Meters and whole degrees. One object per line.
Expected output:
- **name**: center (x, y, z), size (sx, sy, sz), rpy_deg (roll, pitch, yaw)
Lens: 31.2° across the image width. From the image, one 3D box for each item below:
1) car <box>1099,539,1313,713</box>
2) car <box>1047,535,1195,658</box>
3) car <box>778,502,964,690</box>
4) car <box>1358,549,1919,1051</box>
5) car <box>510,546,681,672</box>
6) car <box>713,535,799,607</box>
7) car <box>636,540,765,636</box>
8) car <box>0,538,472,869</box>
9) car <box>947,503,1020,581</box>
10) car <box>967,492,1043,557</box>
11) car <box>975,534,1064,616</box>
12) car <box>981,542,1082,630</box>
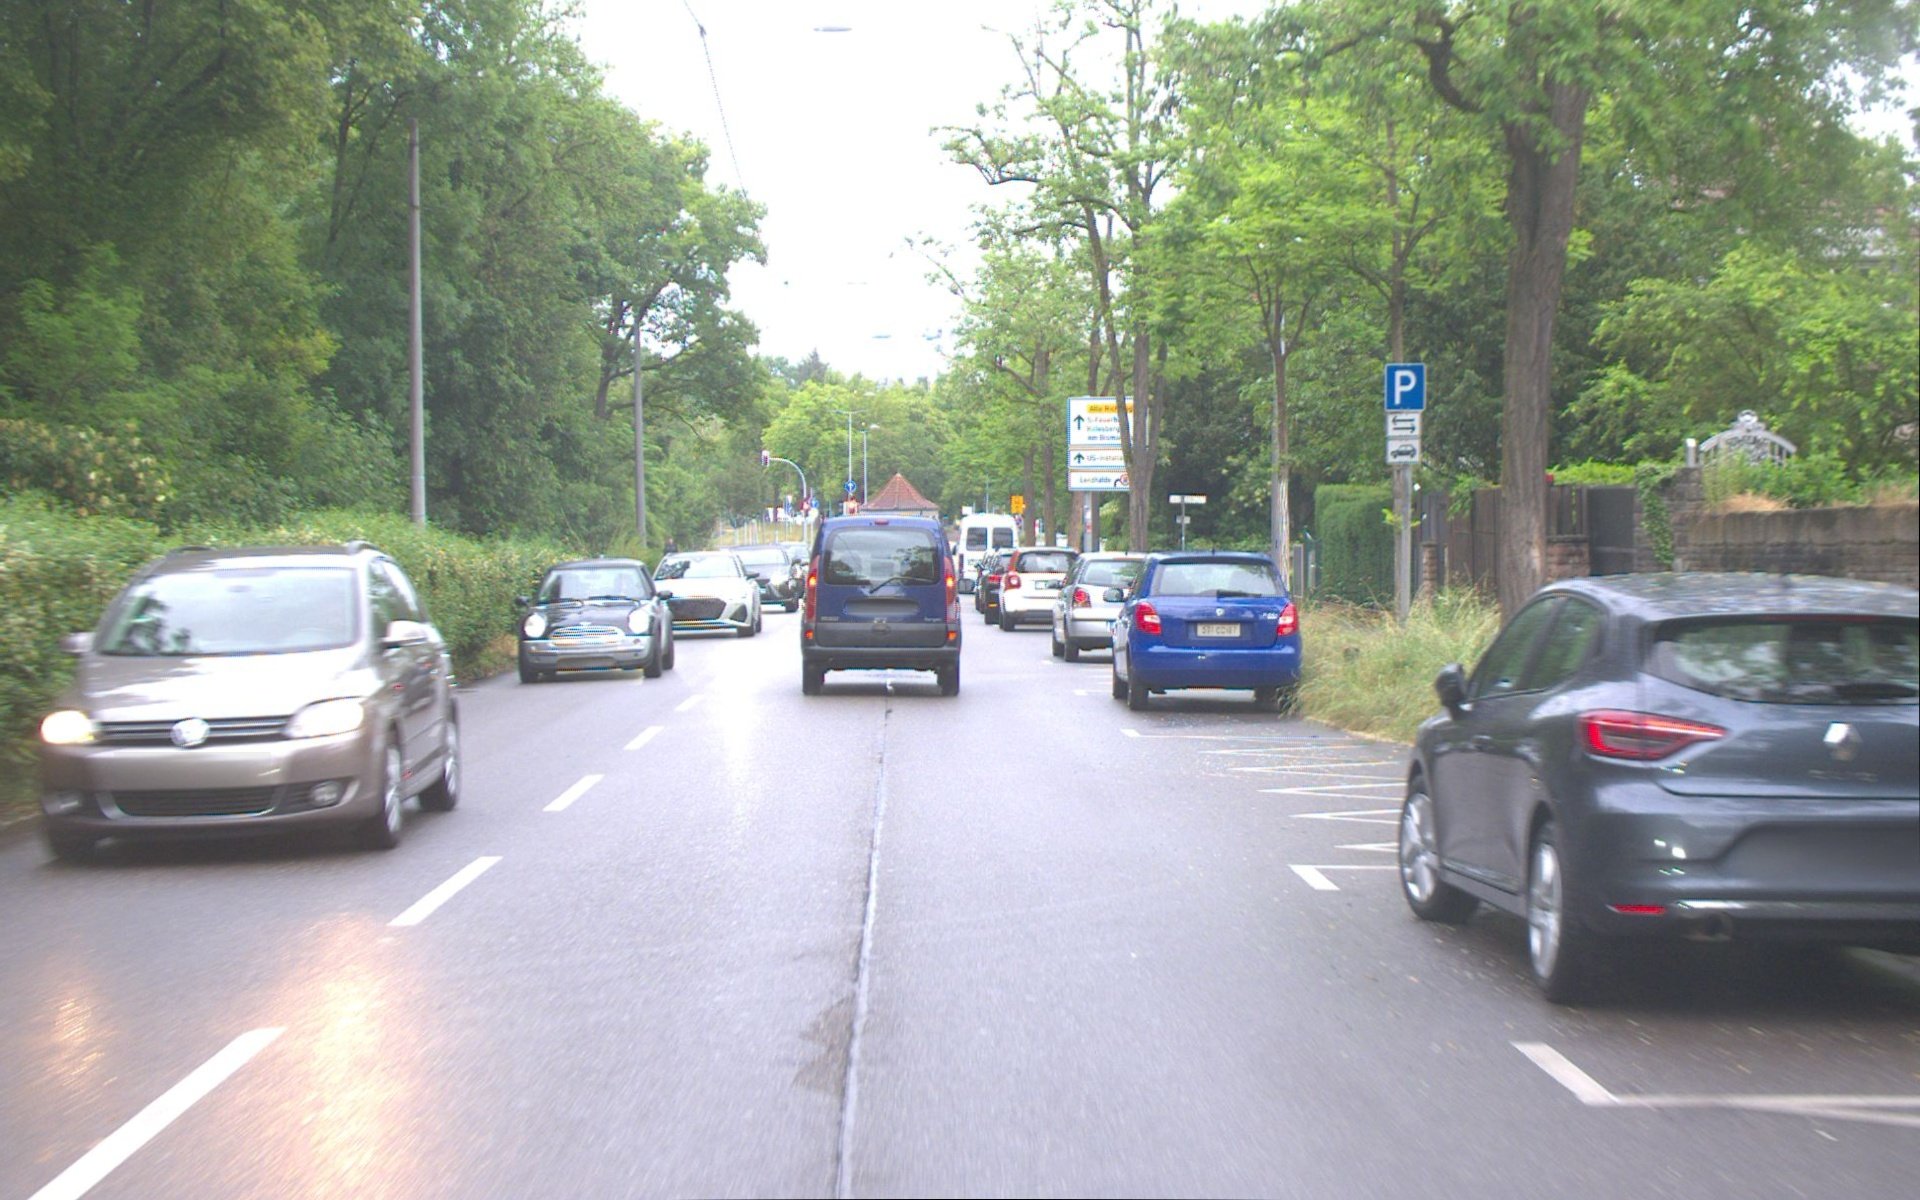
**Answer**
- **car**: center (2.320, 0.200, 33.355), size (1.721, 1.500, 4.051), rpy_deg (1, 2, -1)
- **car**: center (2.122, -0.084, 46.241), size (1.618, 1.503, 3.835), rpy_deg (1, 2, -2)
- **car**: center (-0.974, -0.087, 35.942), size (1.766, 1.824, 3.543), rpy_deg (1, 2, -4)
- **car**: center (2.686, 0.601, 12.652), size (1.740, 1.474, 3.964), rpy_deg (1, 2, -3)
- **car**: center (-4.379, 0.078, 41.748), size (1.686, 1.351, 3.724), rpy_deg (-2, 2, -1)
- **car**: center (-4.825, -0.716, 81.922), size (1.804, 1.541, 4.432), rpy_deg (-2, 2, -1)
- **car**: center (-4.446, -0.240, 59.406), size (1.856, 1.463, 4.447), rpy_deg (-3, 2, 0)
- **car**: center (-3.750, 0.459, 18.458), size (1.729, 1.487, 4.001), rpy_deg (-2, 2, -1)
- **car**: center (0.727, -1.849, 110.339), size (2.205, 2.441, 4.730), rpy_deg (0, 1, -1)
- **car**: center (1.099, -1.873, 85.213), size (1.698, 1.519, 3.868), rpy_deg (1, 1, -2)
- **car**: center (1.211, -0.530, 68.830), size (1.698, 1.519, 3.868), rpy_deg (1, 2, 1)
- **car**: center (1.282, -0.275, 62.806), size (1.632, 1.504, 2.958), rpy_deg (1, 2, -2)
